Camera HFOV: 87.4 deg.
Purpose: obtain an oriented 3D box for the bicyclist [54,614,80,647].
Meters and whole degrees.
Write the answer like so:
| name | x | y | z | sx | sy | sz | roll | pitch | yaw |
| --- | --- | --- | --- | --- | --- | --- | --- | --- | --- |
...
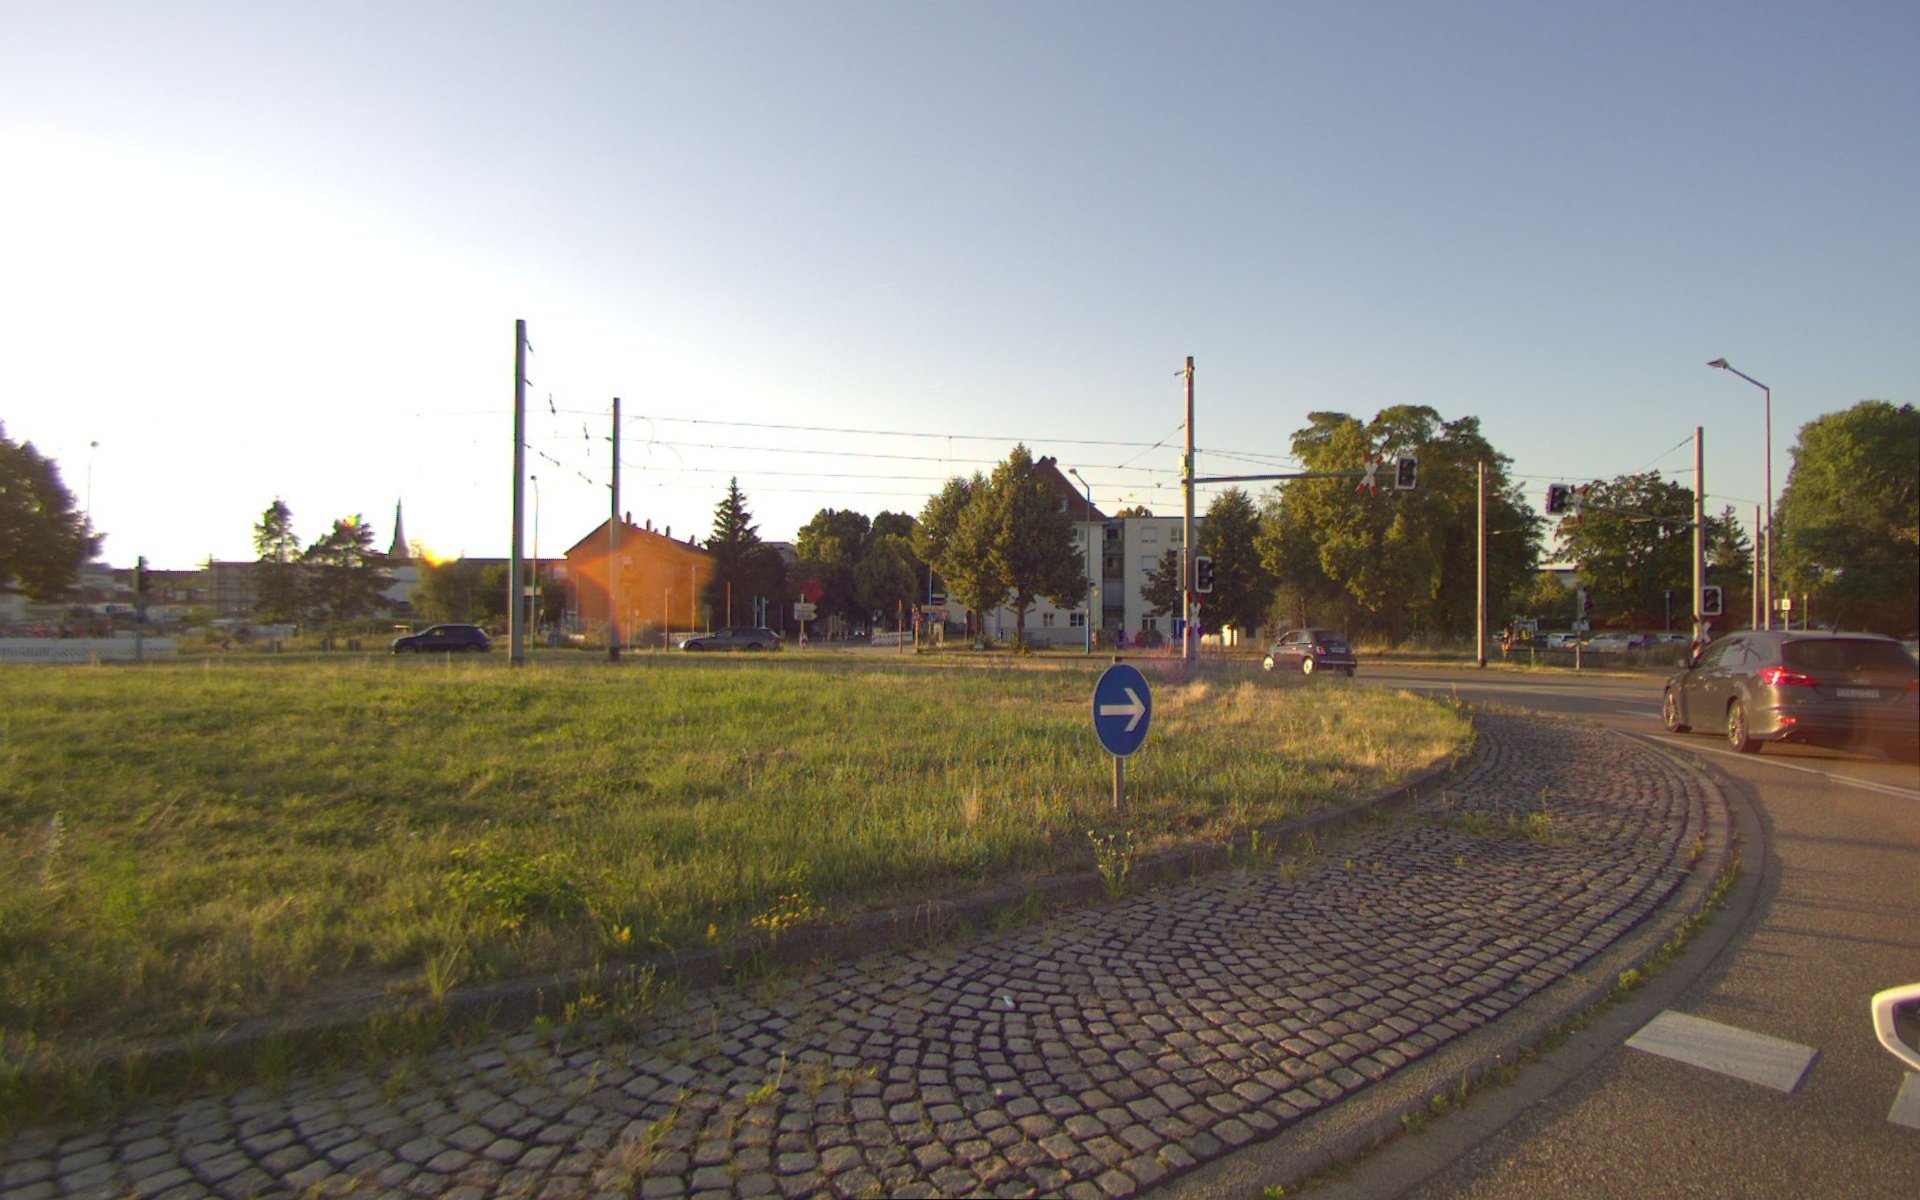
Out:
| name | x | y | z | sx | sy | sz | roll | pitch | yaw |
| --- | --- | --- | --- | --- | --- | --- | --- | --- | --- |
| bicyclist | -45.717 | 1.576 | 51.418 | 0.787 | 1.655 | 0.692 | 0 | -1 | -23 |

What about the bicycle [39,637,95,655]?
| name | x | y | z | sx | sy | sz | roll | pitch | yaw |
| --- | --- | --- | --- | --- | --- | --- | --- | --- | --- |
| bicycle | -45.779 | 2.356 | 51.510 | 2.105 | 0.857 | 0.510 | 0 | -1 | -23 |

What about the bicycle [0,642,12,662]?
| name | x | y | z | sx | sy | sz | roll | pitch | yaw |
| --- | --- | --- | --- | --- | --- | --- | --- | --- | --- |
| bicycle | -48.221 | 2.605 | 49.711 | 0.539 | 0.993 | 1.843 | -1 | -1 | 22 |

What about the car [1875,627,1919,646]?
| name | x | y | z | sx | sy | sz | roll | pitch | yaw |
| --- | --- | --- | --- | --- | --- | --- | --- | --- | --- |
| car | 82.130 | 3.120 | 87.049 | 1.961 | 1.571 | 3.999 | 0 | -1 | -3 |

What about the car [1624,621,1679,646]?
| name | x | y | z | sx | sy | sz | roll | pitch | yaw |
| --- | --- | --- | --- | --- | --- | --- | --- | --- | --- |
| car | 59.369 | 2.841 | 86.308 | 1.961 | 2.126 | 4.000 | 0 | -1 | -2 |

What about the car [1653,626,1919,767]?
| name | x | y | z | sx | sy | sz | roll | pitch | yaw |
| --- | --- | --- | --- | --- | --- | --- | --- | --- | --- |
| car | 10.455 | 1.084 | 12.815 | 1.717 | 1.486 | 4.134 | -1 | -1 | 21 |

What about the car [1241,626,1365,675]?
| name | x | y | z | sx | sy | sz | roll | pitch | yaw |
| --- | --- | --- | --- | --- | --- | --- | --- | --- | --- |
| car | 11.132 | 1.608 | 32.903 | 1.724 | 1.465 | 4.118 | 0 | -1 | -19 |

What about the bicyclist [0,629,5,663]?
| name | x | y | z | sx | sy | sz | roll | pitch | yaw |
| --- | --- | --- | --- | --- | --- | --- | --- | --- | --- |
| bicyclist | -48.172 | 2.297 | 49.857 | 0.799 | 1.662 | 0.814 | -1 | -1 | 22 |

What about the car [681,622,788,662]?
| name | x | y | z | sx | sy | sz | roll | pitch | yaw |
| --- | --- | --- | --- | --- | --- | --- | --- | --- | --- |
| car | -10.326 | 1.927 | 46.179 | 4.505 | 1.771 | 1.752 | -1 | -1 | 2 |

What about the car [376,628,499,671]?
| name | x | y | z | sx | sy | sz | roll | pitch | yaw |
| --- | --- | --- | --- | --- | --- | --- | --- | --- | --- |
| car | -22.505 | 2.105 | 43.469 | 4.530 | 1.771 | 1.743 | 0 | -1 | -22 |

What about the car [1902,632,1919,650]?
| name | x | y | z | sx | sy | sz | roll | pitch | yaw |
| --- | --- | --- | --- | --- | --- | --- | --- | --- | --- |
| car | 84.430 | 3.564 | 86.889 | 1.961 | 1.571 | 3.999 | 0 | -1 | -3 |

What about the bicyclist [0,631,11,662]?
| name | x | y | z | sx | sy | sz | roll | pitch | yaw |
| --- | --- | --- | --- | --- | --- | --- | --- | --- | --- |
| bicyclist | -47.410 | 2.307 | 49.474 | 0.581 | 1.526 | 0.814 | -1 | -1 | 22 |

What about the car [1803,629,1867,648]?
| name | x | y | z | sx | sy | sz | roll | pitch | yaw |
| --- | --- | --- | --- | --- | --- | --- | --- | --- | --- |
| car | 75.252 | 3.293 | 86.470 | 1.961 | 1.571 | 3.999 | 0 | -1 | -3 |

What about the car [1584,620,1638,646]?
| name | x | y | z | sx | sy | sz | roll | pitch | yaw |
| --- | --- | --- | --- | --- | --- | --- | --- | --- | --- |
| car | 56.077 | 2.819 | 86.584 | 1.961 | 2.126 | 4.000 | 0 | -1 | -2 |

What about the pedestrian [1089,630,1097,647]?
| name | x | y | z | sx | sy | sz | roll | pitch | yaw |
| --- | --- | --- | --- | --- | --- | --- | --- | --- | --- |
| pedestrian | 10.742 | 3.085 | 80.994 | 0.538 | 1.392 | 0.358 | 0 | -1 | -7 |
